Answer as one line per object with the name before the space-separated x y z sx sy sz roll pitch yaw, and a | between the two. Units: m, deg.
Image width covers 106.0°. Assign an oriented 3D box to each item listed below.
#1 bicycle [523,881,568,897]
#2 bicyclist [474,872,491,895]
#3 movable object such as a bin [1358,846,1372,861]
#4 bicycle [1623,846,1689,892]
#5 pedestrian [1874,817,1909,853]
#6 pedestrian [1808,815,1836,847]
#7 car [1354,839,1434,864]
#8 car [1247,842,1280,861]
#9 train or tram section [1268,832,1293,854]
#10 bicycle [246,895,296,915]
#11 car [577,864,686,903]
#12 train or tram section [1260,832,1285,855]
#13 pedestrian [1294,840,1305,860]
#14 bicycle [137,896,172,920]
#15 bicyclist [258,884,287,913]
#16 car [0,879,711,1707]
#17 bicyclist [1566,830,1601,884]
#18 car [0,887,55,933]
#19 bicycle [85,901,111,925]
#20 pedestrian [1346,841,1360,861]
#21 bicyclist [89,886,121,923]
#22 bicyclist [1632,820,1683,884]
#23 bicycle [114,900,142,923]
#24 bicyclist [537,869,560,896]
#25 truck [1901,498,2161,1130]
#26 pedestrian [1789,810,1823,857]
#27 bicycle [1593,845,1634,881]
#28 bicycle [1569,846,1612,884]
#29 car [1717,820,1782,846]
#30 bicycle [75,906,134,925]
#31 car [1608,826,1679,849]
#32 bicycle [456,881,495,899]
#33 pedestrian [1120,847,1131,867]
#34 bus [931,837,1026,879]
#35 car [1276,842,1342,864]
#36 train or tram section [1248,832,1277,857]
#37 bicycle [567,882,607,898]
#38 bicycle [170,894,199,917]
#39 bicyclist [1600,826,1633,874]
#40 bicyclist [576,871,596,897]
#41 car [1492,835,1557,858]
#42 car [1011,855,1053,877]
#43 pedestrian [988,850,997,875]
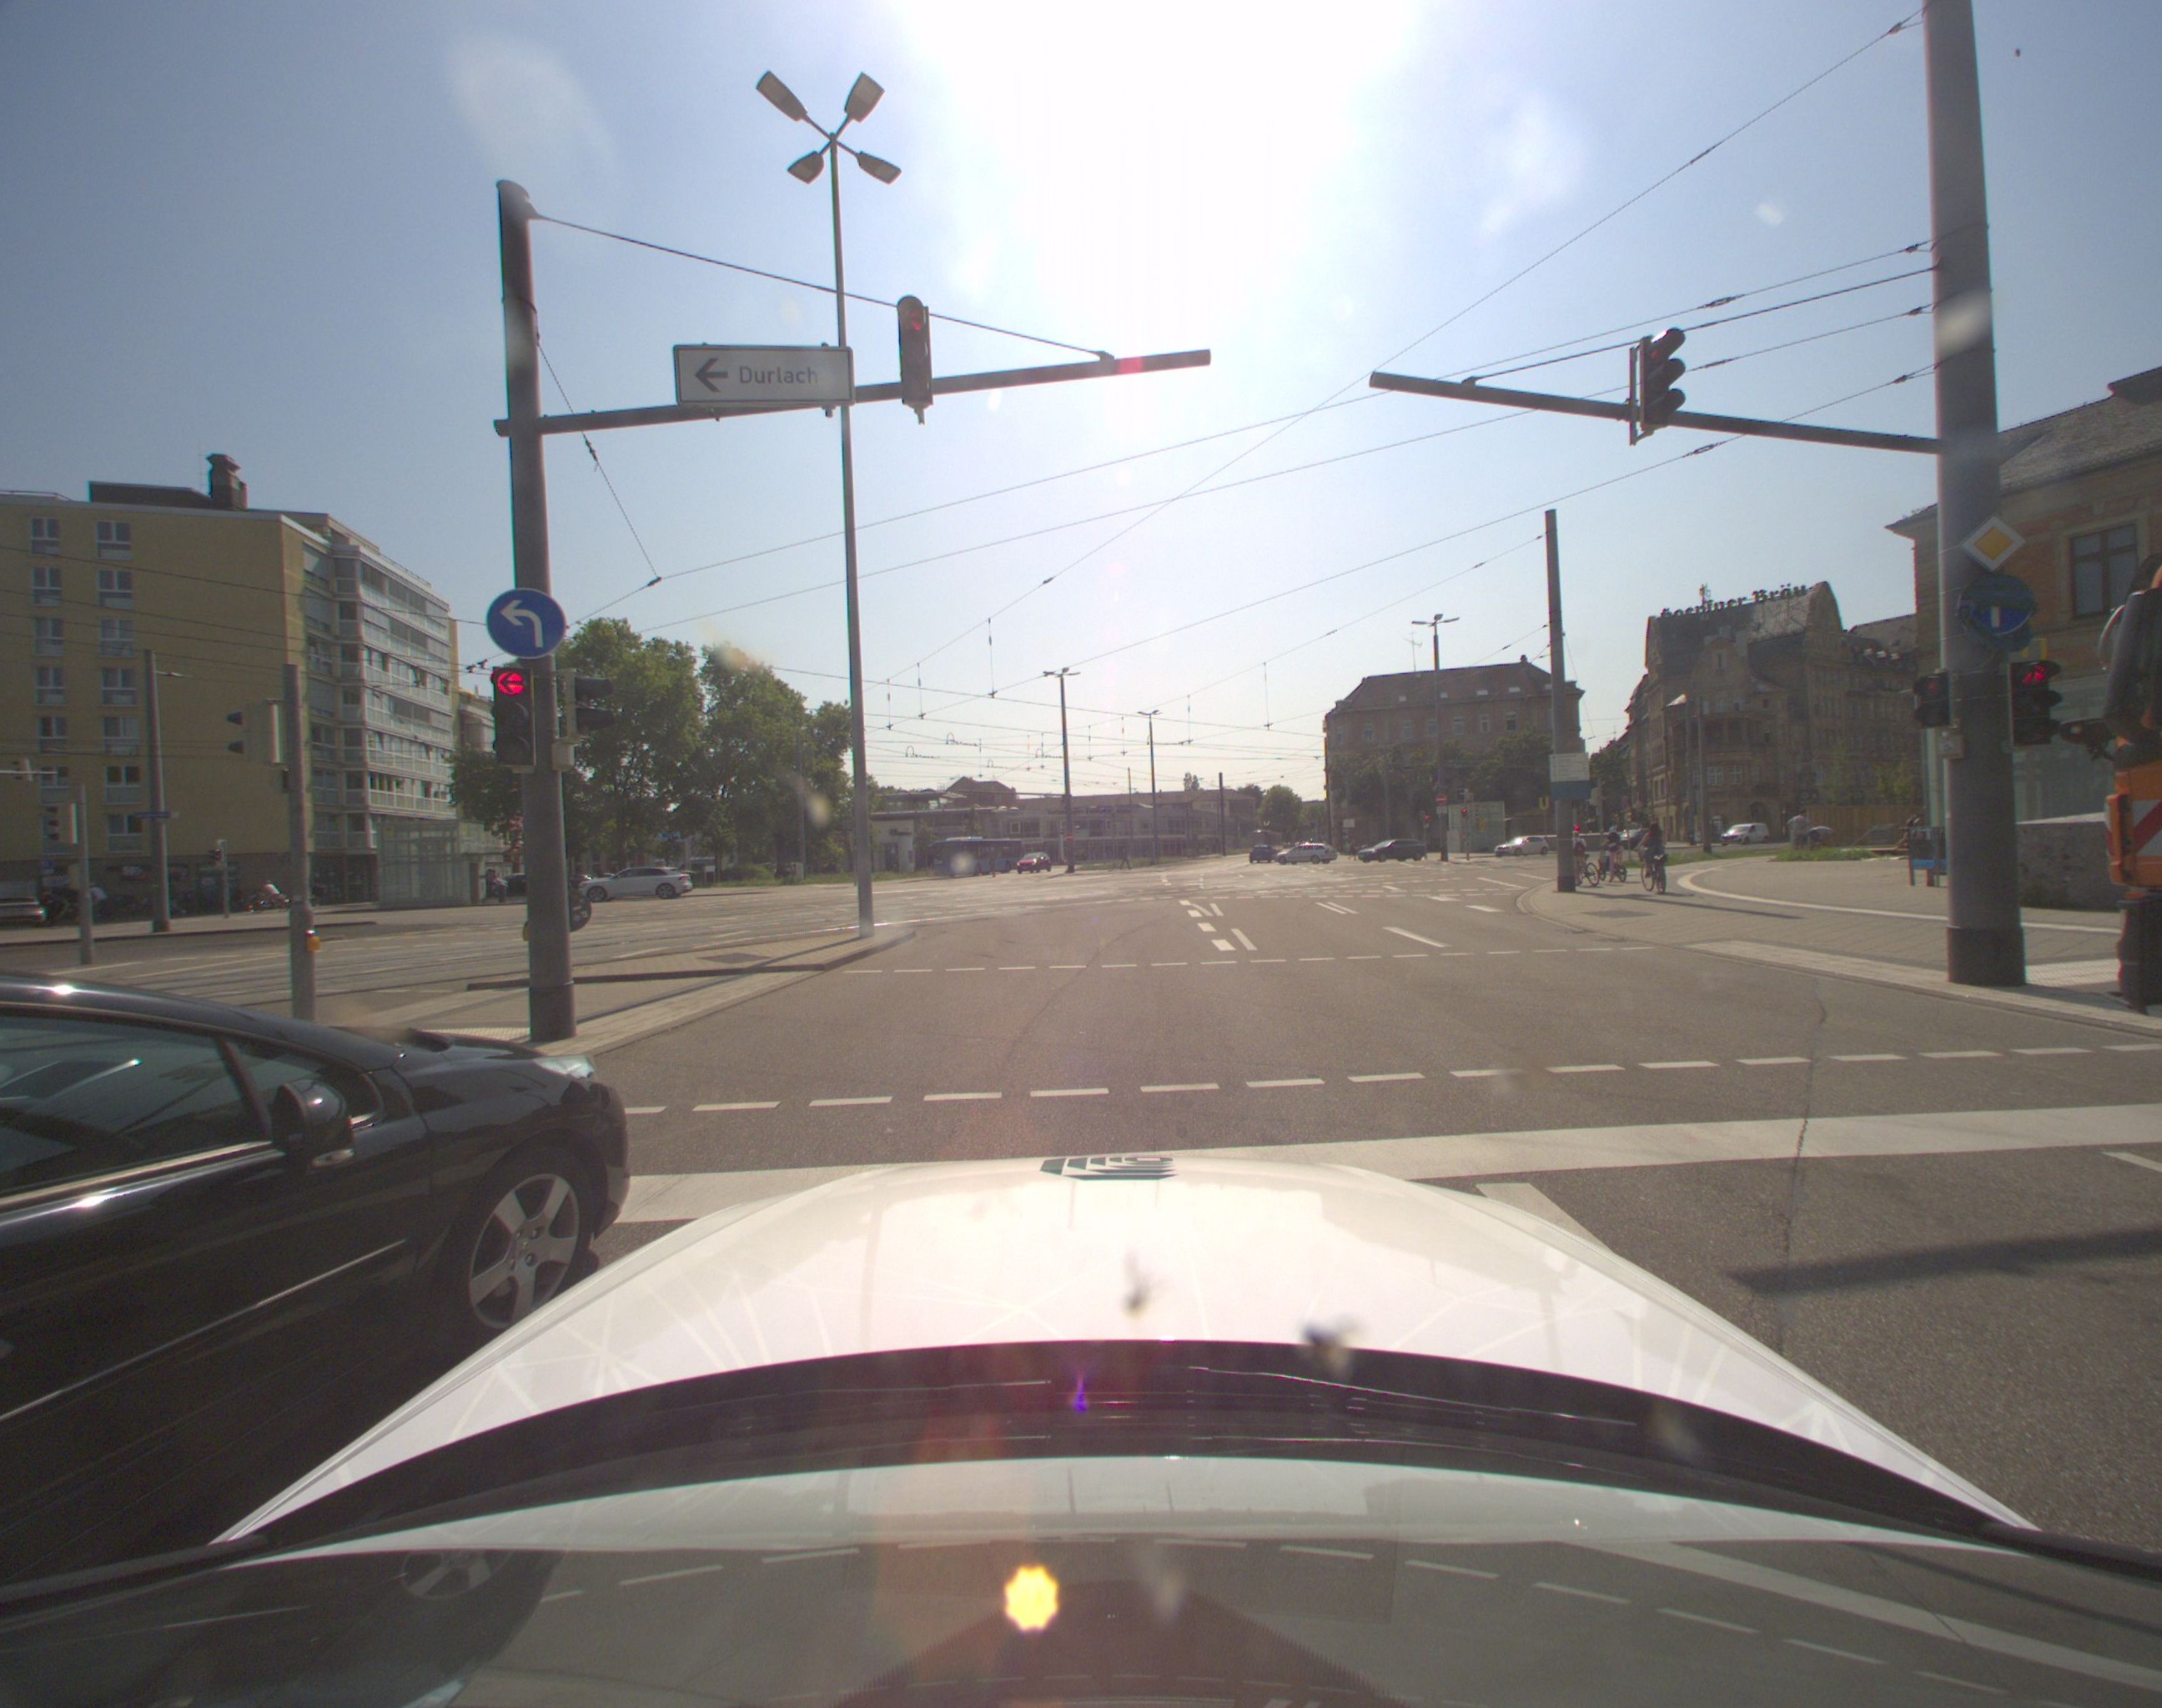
bicycle | -29.898 1.959 45.517 2.049 0.802 0.478 -2 0 -11
bicyclist | -35.346 1.747 48.097 0.544 1.293 0.557 -2 0 -9
movable object such as a bin | 21.743 -0.051 62.352 0.812 1.077 0.510 -2 0 -9
bicycle | 14.062 0.341 19.967 0.489 1.055 1.826 -2 0 7
pedestrian | 31.985 -0.745 32.143 0.768 1.399 0.687 -2 0 -23
pedestrian | 29.089 -0.906 31.981 0.658 1.214 0.531 -2 0 30
car | 20.294 -0.172 52.849 4.766 1.415 1.765 -2 0 -18
car | 14.991 -0.242 66.828 1.576 1.394 4.024 -3 0 28
train or tram section | 34.816 -1.882 141.771 2.566 3.516 13.040 -2 0 21
bicycle | -43.260 2.730 43.509 1.818 0.942 0.564 -2 0 -17
car | -21.889 1.409 39.817 4.330 1.618 1.745 -2 0 -16
train or tram section | 30.860 -1.667 131.029 2.566 3.516 9.707 -2 0 20
pedestrian | 17.415 -0.312 64.895 0.699 1.603 0.572 -2 0 -6
bicycle | -50.595 2.926 44.456 3.220 1.204 0.916 -3 0 36
bicyclist | -43.221 2.362 43.538 0.912 1.508 0.556 -2 0 -18
car | -2.647 0.816 1.637 1.757 1.388 3.787 -1 0 6
bicyclist | 14.602 0.091 23.693 0.623 1.517 0.715 -2 0 14
car | -48.337 2.537 37.024 3.949 1.925 1.815 -3 0 42
bicycle | -52.937 3.179 43.869 2.754 1.204 0.699 -3 0 36
pedestrian | 20.944 -0.230 62.723 0.849 1.545 0.527 -2 0 -6
bicyclist | -50.227 2.586 41.908 0.924 1.808 0.496 -2 0 -11
bicyclist | 14.013 -0.043 19.817 0.730 1.517 0.665 -2 0 6
bicycle | -51.598 3.104 44.088 3.220 1.204 0.699 -3 0 36
bicyclist | -29.770 1.588 45.539 0.871 1.483 0.495 -2 0 -11
truck | 6.444 -0.199 1.909 2.481 3.134 6.869 0 0 4
pedestrian | 27.177 -0.775 30.532 0.549 1.724 0.812 -2 0 -39
bicycle | 16.280 0.263 24.930 0.532 1.055 1.660 -2 0 14
bicycle | 14.584 0.295 23.343 0.532 1.055 1.660 -2 0 14
car | 55.750 -1.739 67.915 4.622 2.013 1.988 -2 0 -17
bicycle | -50.242 3.157 41.912 2.049 0.802 0.478 -2 0 -11
car | 42.471 -1.250 61.486 4.624 1.505 1.987 -2 0 -19
bicycle | -35.764 2.134 48.109 1.814 0.942 0.414 -2 0 -11
pedestrian | 3.239 0.245 59.417 0.678 1.443 0.364 -2 0 -15
bus | -8.101 0.209 66.987 2.541 3.082 12.082 -3 0 19
car | 16.220 -0.074 58.062 4.135 1.415 1.787 -2 0 42
train or tram section | 27.177 -1.456 121.358 2.566 3.516 10.955 -2 0 21
bicycle | -29.195 2.131 48.136 1.860 0.802 0.604 -2 0 -17
bicycle | -49.158 2.815 44.640 3.220 1.204 0.699 -3 0 36
bicyclist | 16.152 -0.128 24.567 0.526 1.393 0.897 -2 0 14
bicyclist | -29.243 1.750 48.133 0.873 1.475 0.543 -2 0 -16
car | 31.195 -0.554 57.334 4.206 1.415 1.762 -2 0 -23
car | -3.816 0.943 63.600 1.735 1.552 4.020 -3 0 20
pedestrian | -6.234 0.590 57.397 0.554 1.684 0.451 -2 0 -17
